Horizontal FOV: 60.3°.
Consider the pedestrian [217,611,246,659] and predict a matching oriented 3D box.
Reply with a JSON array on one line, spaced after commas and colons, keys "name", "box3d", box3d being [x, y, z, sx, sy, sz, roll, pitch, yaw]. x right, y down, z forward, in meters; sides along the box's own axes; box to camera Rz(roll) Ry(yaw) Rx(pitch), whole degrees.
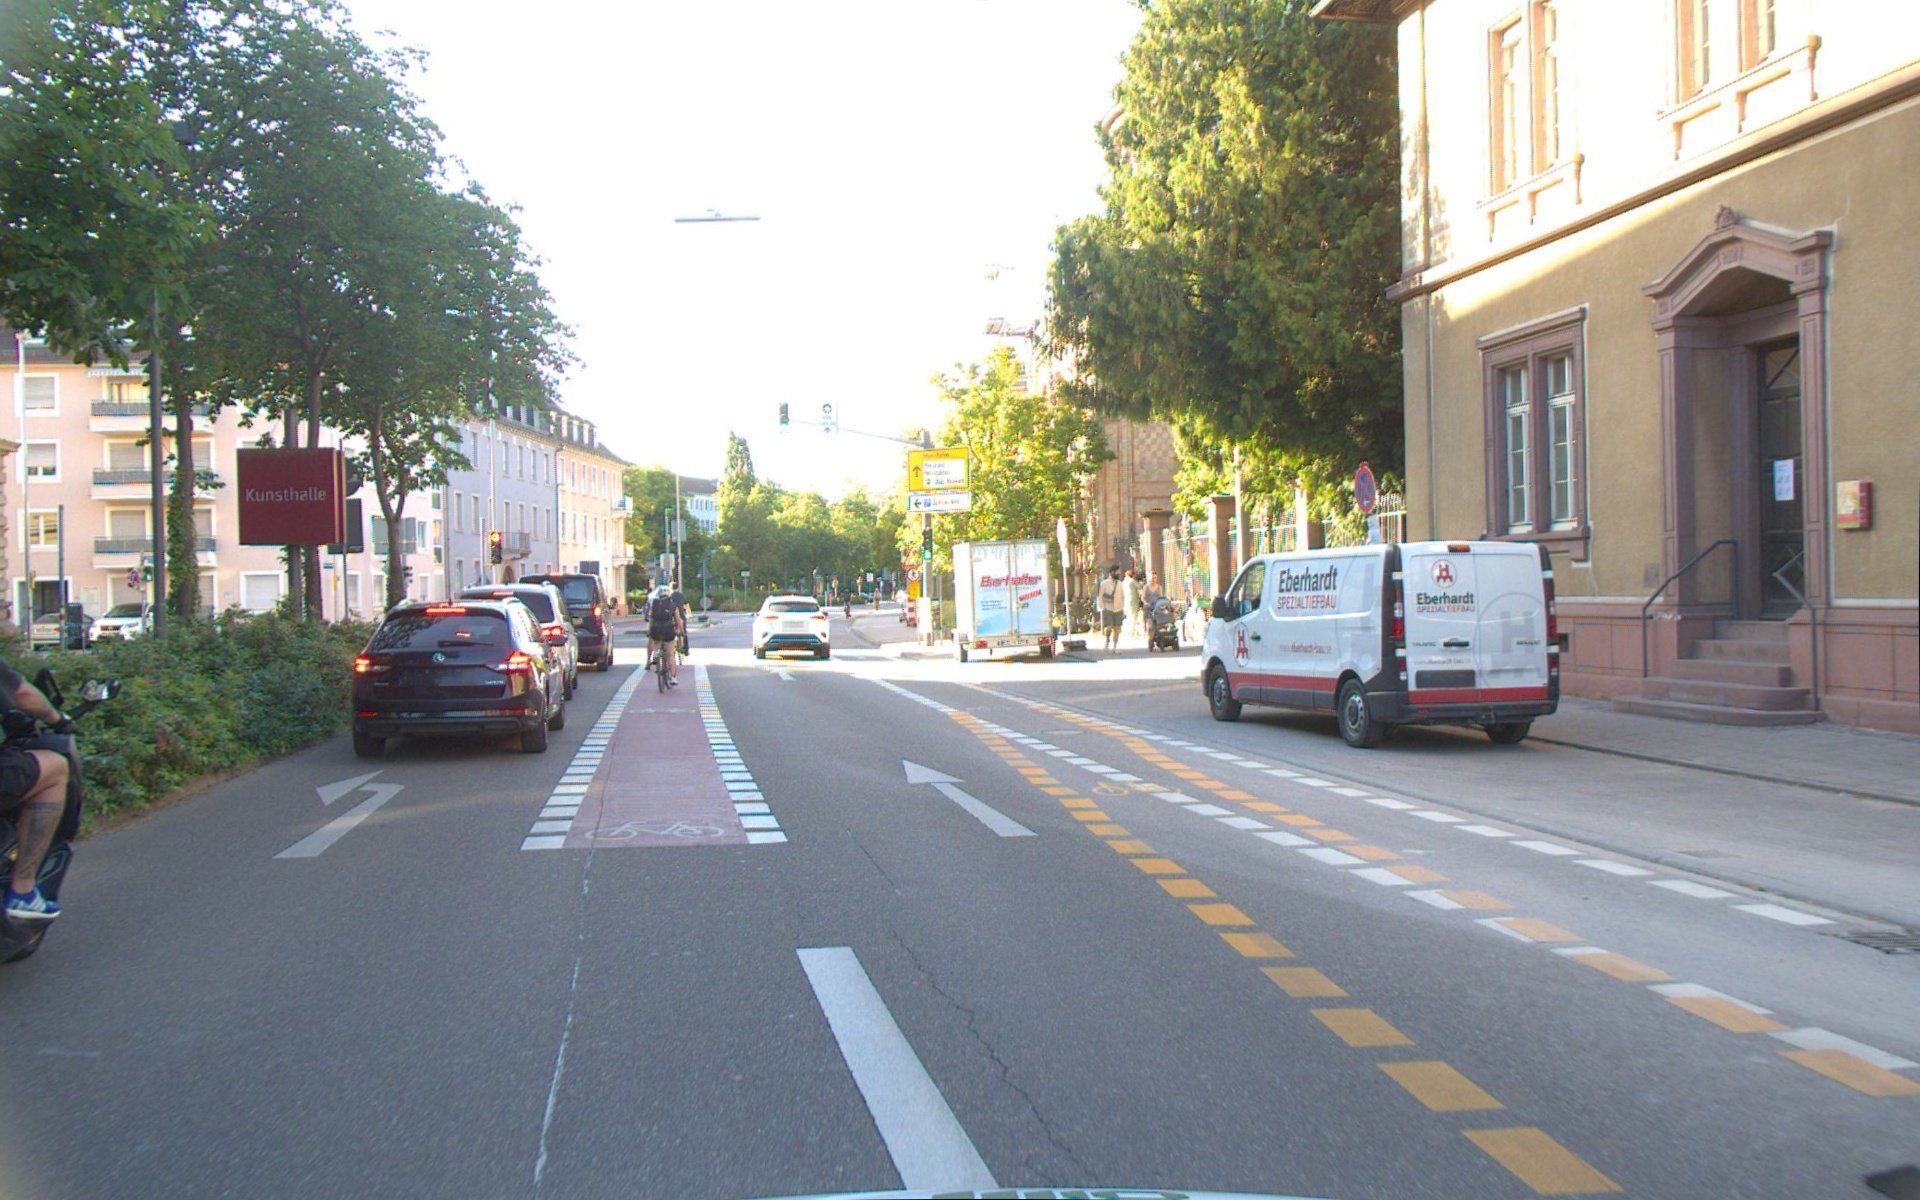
[{"name": "pedestrian", "box3d": [-25.069, 1.210, 56.918, 0.619, 1.611, 0.817, 1, 0, -4]}]

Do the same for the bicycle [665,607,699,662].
[{"name": "bicycle", "box3d": [-6.269, 0.759, 37.376, 0.630, 1.175, 2.074, -1, 0, -6]}]

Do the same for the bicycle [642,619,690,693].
[{"name": "bicycle", "box3d": [-4.682, 0.874, 26.399, 0.656, 1.091, 1.750, -1, 0, -7]}]

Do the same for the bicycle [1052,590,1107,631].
[{"name": "bicycle", "box3d": [3.340, 0.296, 46.228, 1.439, 1.057, 0.478, -3, 1, -9]}]

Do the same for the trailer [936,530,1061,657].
[{"name": "trailer", "box3d": [0.792, -0.165, 37.430, 2.040, 2.572, 4.485, -4, 1, -7]}]

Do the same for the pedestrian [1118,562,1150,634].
[{"name": "pedestrian", "box3d": [4.425, -0.056, 42.173, 0.627, 1.799, 0.737, -2, 0, -6]}]

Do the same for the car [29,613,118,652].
[{"name": "car", "box3d": [-34.311, 1.239, 64.112, 1.574, 1.333, 3.996, -2, 1, -5]}]

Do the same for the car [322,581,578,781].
[{"name": "car", "box3d": [-5.048, 0.700, 16.990, 1.958, 1.686, 4.724, -2, 0, -11]}]

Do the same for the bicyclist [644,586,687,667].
[{"name": "bicyclist", "box3d": [-6.181, 0.546, 34.775, 0.787, 1.636, 0.824, -2, 0, -6]}]

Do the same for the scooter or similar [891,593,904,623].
[{"name": "scooter or similar", "box3d": [-2.884, 0.354, 76.750, 0.544, 1.331, 1.832, -2, 1, -1]}]

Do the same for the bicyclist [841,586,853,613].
[{"name": "bicyclist", "box3d": [-6.853, -0.028, 100.593, 0.623, 1.642, 1.284, -1, 0, 0]}]

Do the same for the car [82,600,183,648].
[{"name": "car", "box3d": [-32.108, 0.900, 64.329, 1.955, 1.715, 4.609, -2, 1, -6]}]

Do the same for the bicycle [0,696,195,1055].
[{"name": "bicycle", "box3d": [-3.741, 0.977, 6.290, 0.854, 1.061, 2.449, 0, 0, -9]}]

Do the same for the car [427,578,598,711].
[{"name": "car", "box3d": [-6.776, 0.600, 25.536, 1.954, 1.780, 4.738, -2, 1, -9]}]

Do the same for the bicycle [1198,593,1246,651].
[{"name": "bicycle", "box3d": [5.436, 0.432, 34.397, 0.387, 1.150, 1.924, -2, 1, -8]}]

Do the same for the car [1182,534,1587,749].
[{"name": "car", "box3d": [4.345, 0.380, 18.074, 1.980, 1.979, 5.462, -1, 0, -13]}]

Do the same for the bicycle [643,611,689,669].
[{"name": "bicycle", "box3d": [-6.169, 0.823, 34.796, 0.813, 1.163, 1.967, -1, 0, -6]}]

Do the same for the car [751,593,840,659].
[{"name": "car", "box3d": [-4.145, 0.608, 41.186, 1.957, 1.478, 3.992, -2, 0, -9]}]

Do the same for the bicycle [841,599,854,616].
[{"name": "bicycle", "box3d": [-6.842, 0.450, 100.460, 0.630, 1.042, 2.212, 0, 1, 0]}]

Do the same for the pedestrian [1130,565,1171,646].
[{"name": "pedestrian", "box3d": [4.167, 0.117, 36.165, 0.670, 1.731, 0.692, -3, 1, -10]}]

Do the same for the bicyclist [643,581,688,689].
[{"name": "bicyclist", "box3d": [-4.689, 0.544, 26.380, 0.660, 1.681, 0.886, -1, 0, -8]}]

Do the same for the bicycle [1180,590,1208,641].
[{"name": "bicycle", "box3d": [5.289, 0.341, 37.479, 0.268, 1.125, 1.531, -3, 1, -4]}]

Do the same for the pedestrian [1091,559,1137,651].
[{"name": "pedestrian", "box3d": [3.325, 0.101, 35.753, 0.702, 1.927, 0.887, -3, 1, -11]}]

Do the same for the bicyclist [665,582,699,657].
[{"name": "bicyclist", "box3d": [-6.276, 0.429, 37.330, 0.657, 1.636, 0.824, -2, 0, -6]}]

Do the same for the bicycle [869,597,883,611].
[{"name": "bicycle", "box3d": [-6.547, 0.325, 128.481, 0.737, 1.044, 1.871, 0, 0, 7]}]

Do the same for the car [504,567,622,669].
[{"name": "car", "box3d": [-8.424, 0.362, 35.495, 2.030, 1.949, 5.022, -2, 0, -9]}]

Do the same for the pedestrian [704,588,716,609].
[{"name": "pedestrian", "box3d": [-22.919, -0.159, 151.601, 0.837, 1.883, 1.002, -2, 0, 6]}]

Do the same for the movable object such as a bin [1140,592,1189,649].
[{"name": "movable object such as a bin", "box3d": [4.366, 0.432, 35.367, 0.698, 1.137, 1.048, -4, 1, -11]}]

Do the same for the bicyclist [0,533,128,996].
[{"name": "bicyclist", "box3d": [-3.717, 0.546, 6.057, 0.851, 1.550, 1.228, 0, 0, -9]}]

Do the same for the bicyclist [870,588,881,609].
[{"name": "bicyclist", "box3d": [-6.561, -0.135, 128.452, 0.731, 1.564, 0.970, -1, 0, 7]}]
